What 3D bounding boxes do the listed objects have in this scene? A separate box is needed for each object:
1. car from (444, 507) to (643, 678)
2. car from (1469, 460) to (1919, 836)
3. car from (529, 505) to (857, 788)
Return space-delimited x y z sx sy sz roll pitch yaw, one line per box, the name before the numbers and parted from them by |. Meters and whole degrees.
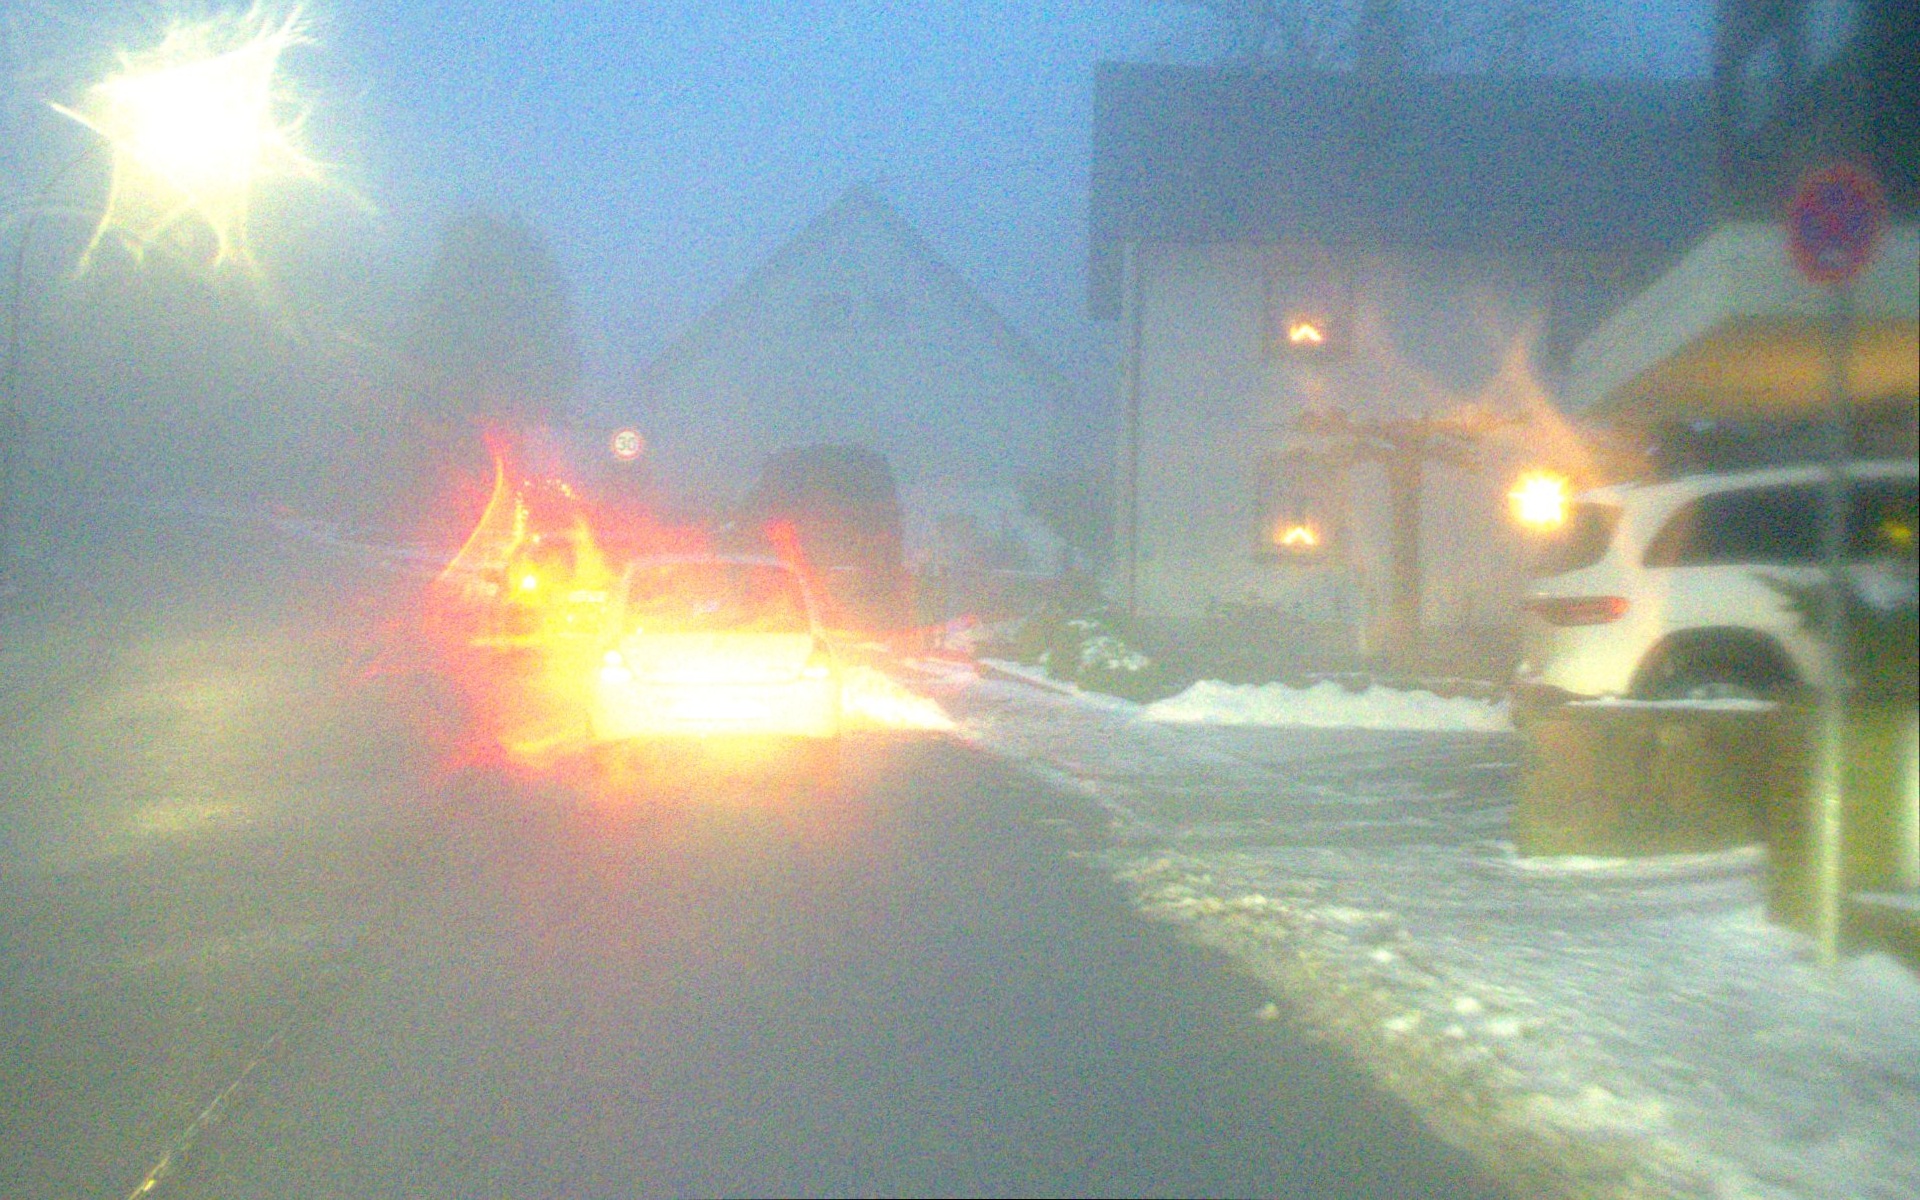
car | -4.508 -0.082 36.802 1.993 1.731 3.879 0 0 -9
car | 4.871 0.236 17.939 4.206 1.852 1.911 0 0 3
car | -1.810 0.237 23.141 1.897 1.603 4.001 4 1 -5
